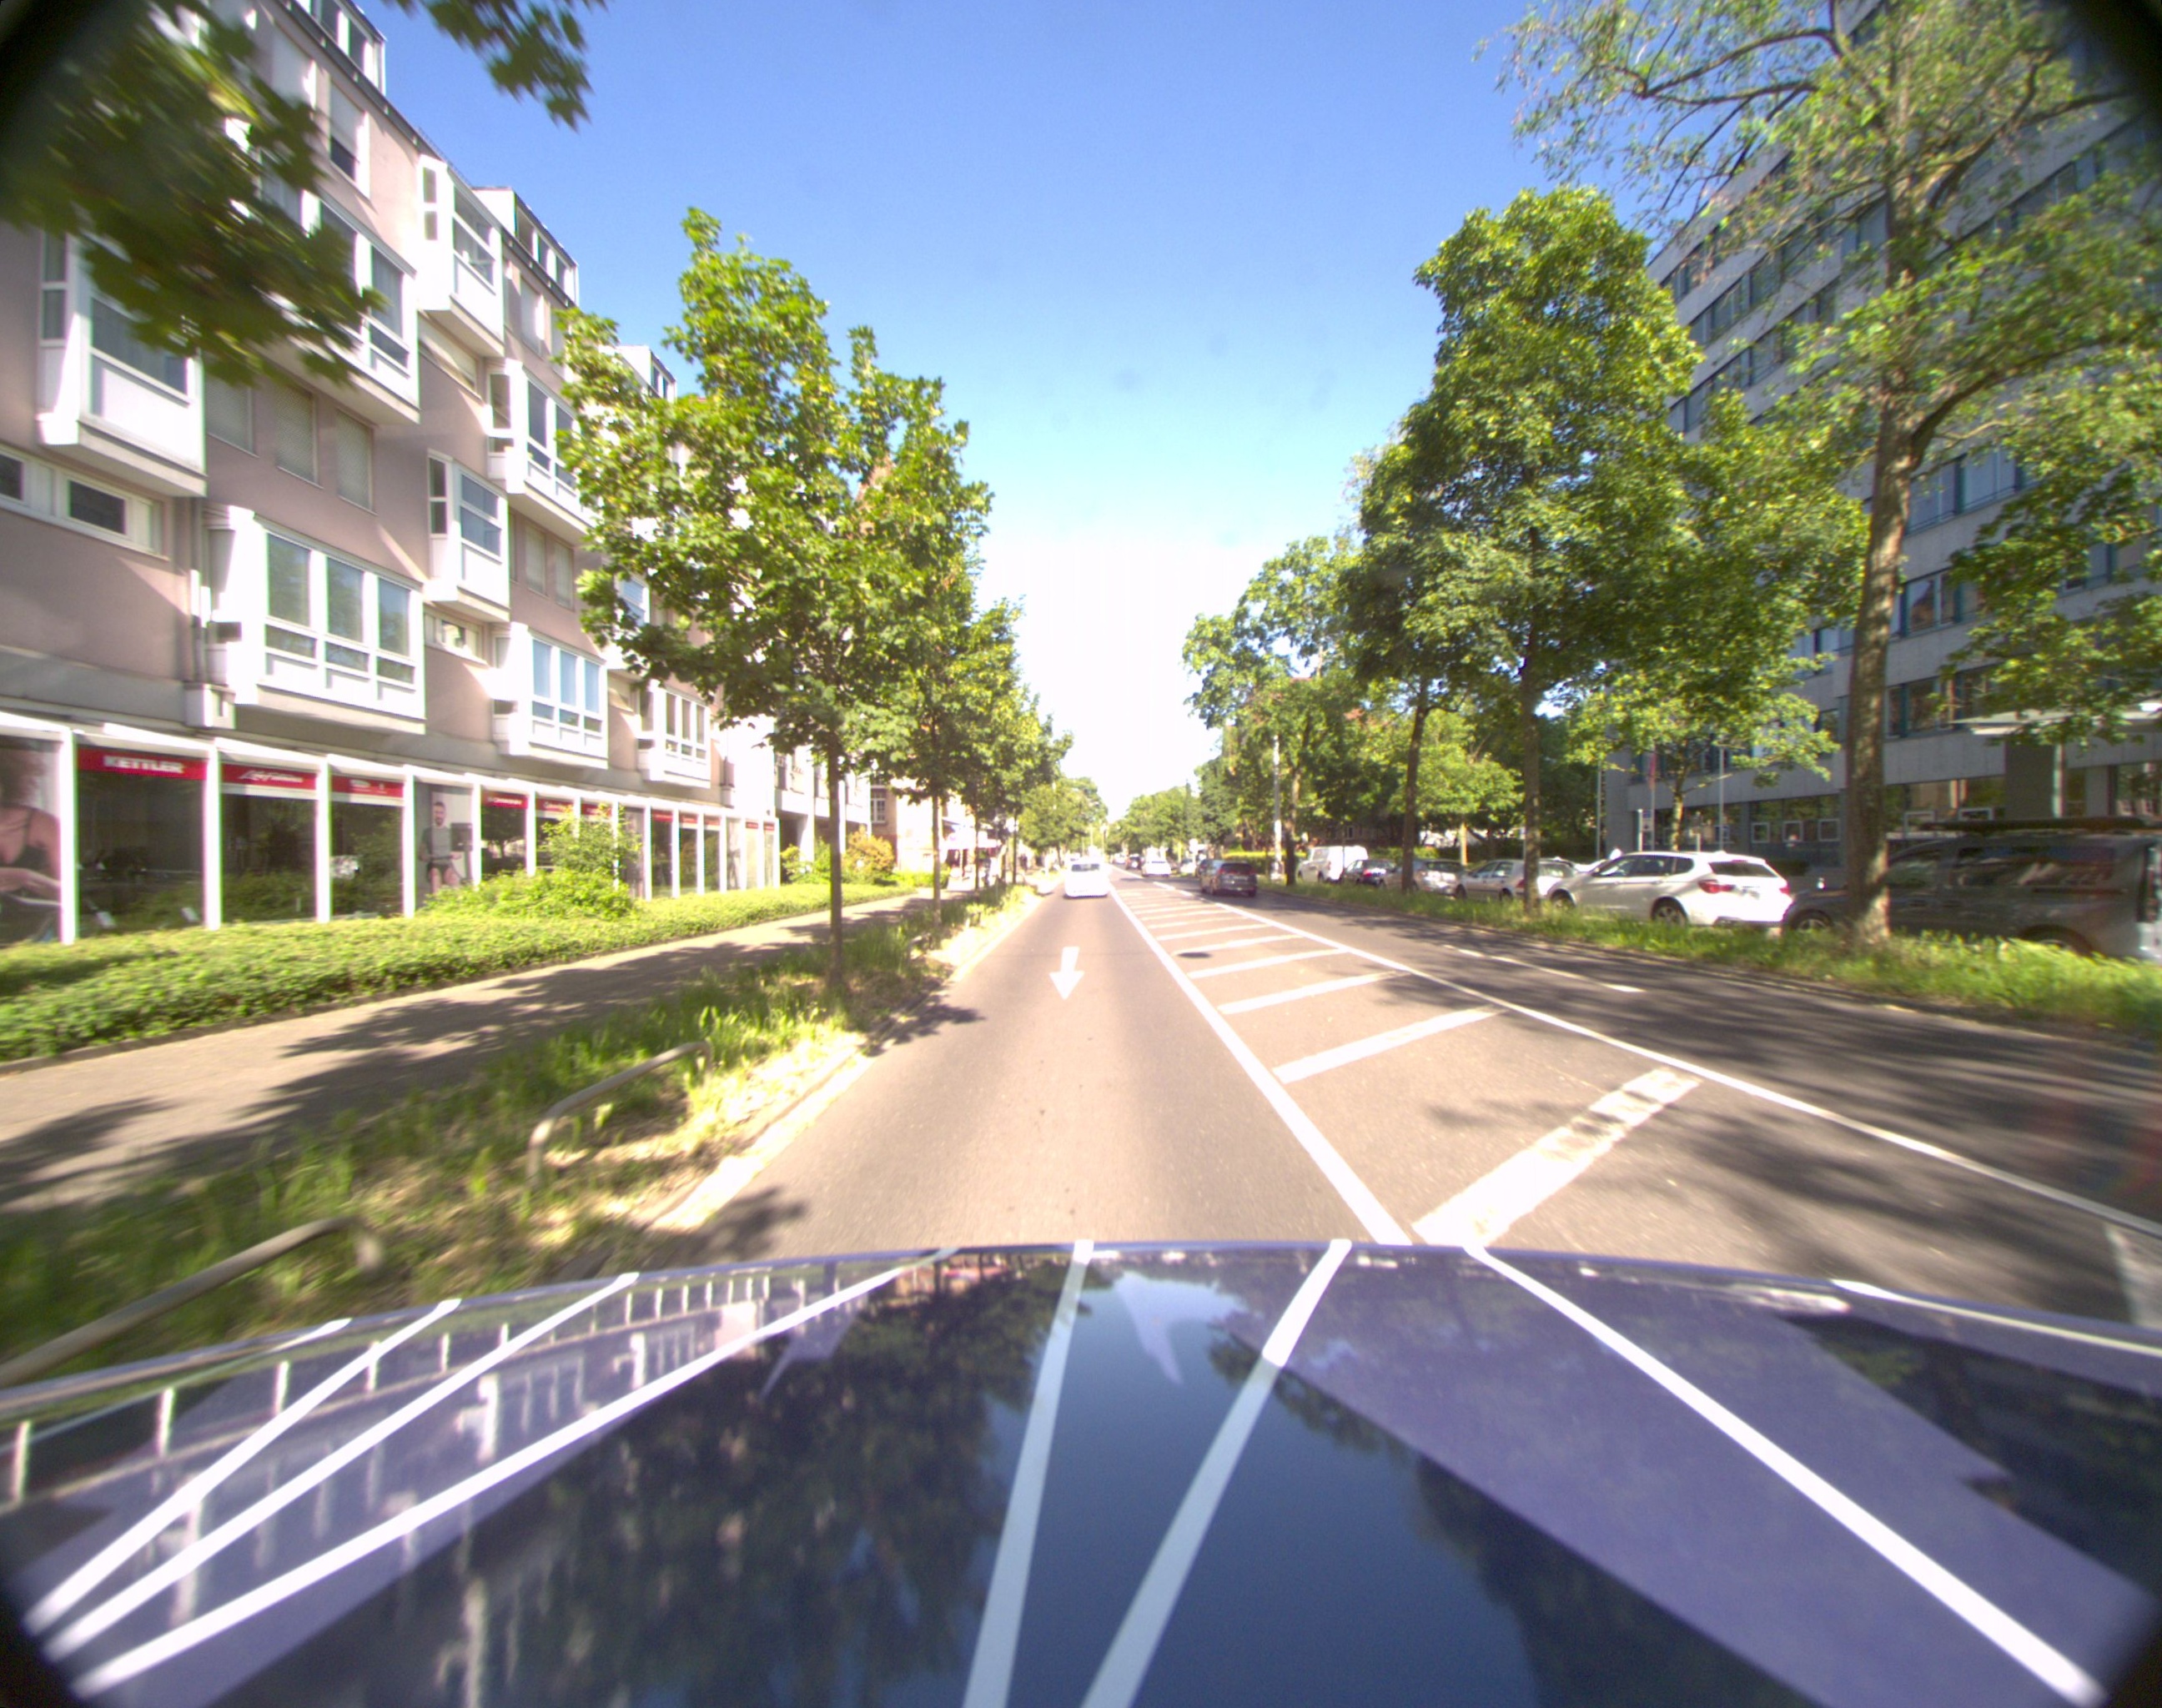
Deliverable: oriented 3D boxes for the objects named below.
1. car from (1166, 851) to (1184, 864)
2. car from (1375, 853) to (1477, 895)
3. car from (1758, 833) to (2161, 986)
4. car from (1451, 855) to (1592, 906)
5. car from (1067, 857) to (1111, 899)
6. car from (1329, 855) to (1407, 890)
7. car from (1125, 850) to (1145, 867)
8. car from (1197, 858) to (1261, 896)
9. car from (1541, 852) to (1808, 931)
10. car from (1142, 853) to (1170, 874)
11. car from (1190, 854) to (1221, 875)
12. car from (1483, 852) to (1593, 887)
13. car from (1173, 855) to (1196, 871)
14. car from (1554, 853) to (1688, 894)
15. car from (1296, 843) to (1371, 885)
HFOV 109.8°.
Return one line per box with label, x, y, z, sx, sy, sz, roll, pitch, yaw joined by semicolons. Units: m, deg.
car;10.526;0.349;85.284;1.606;1.406;4.000;-1;0;1
car;11.729;0.634;26.110;1.657;1.336;3.969;-1;0;-1
car;11.655;0.544;9.885;1.734;1.540;4.448;-1;0;0
car;11.740;0.653;20.555;1.655;1.219;3.847;-1;0;1
car;0.297;0.926;30.966;1.664;1.521;4.099;-1;0;0
car;11.740;0.729;31.406;1.679;1.325;4.188;-1;0;1
car;6.557;0.526;92.836;2.169;2.002;4.411;-1;0;2
car;6.010;0.885;31.333;1.792;1.414;4.188;1;0;0
car;11.885;0.651;15.686;1.721;1.375;4.490;-1;0;-6
car;5.876;0.713;59.777;1.792;1.575;4.188;-1;0;0
car;9.508;0.771;58.163;1.740;1.481;4.000;-1;0;1
car;21.416;0.709;35.721;3.996;1.543;1.896;-1;0;2
car;9.405;0.810;69.346;1.606;1.406;4.000;-1;0;1
car;21.439;0.756;30.302;3.996;1.543;1.896;-1;0;2
car;12.081;0.452;36.663;2.070;1.898;4.525;-1;0;-1
